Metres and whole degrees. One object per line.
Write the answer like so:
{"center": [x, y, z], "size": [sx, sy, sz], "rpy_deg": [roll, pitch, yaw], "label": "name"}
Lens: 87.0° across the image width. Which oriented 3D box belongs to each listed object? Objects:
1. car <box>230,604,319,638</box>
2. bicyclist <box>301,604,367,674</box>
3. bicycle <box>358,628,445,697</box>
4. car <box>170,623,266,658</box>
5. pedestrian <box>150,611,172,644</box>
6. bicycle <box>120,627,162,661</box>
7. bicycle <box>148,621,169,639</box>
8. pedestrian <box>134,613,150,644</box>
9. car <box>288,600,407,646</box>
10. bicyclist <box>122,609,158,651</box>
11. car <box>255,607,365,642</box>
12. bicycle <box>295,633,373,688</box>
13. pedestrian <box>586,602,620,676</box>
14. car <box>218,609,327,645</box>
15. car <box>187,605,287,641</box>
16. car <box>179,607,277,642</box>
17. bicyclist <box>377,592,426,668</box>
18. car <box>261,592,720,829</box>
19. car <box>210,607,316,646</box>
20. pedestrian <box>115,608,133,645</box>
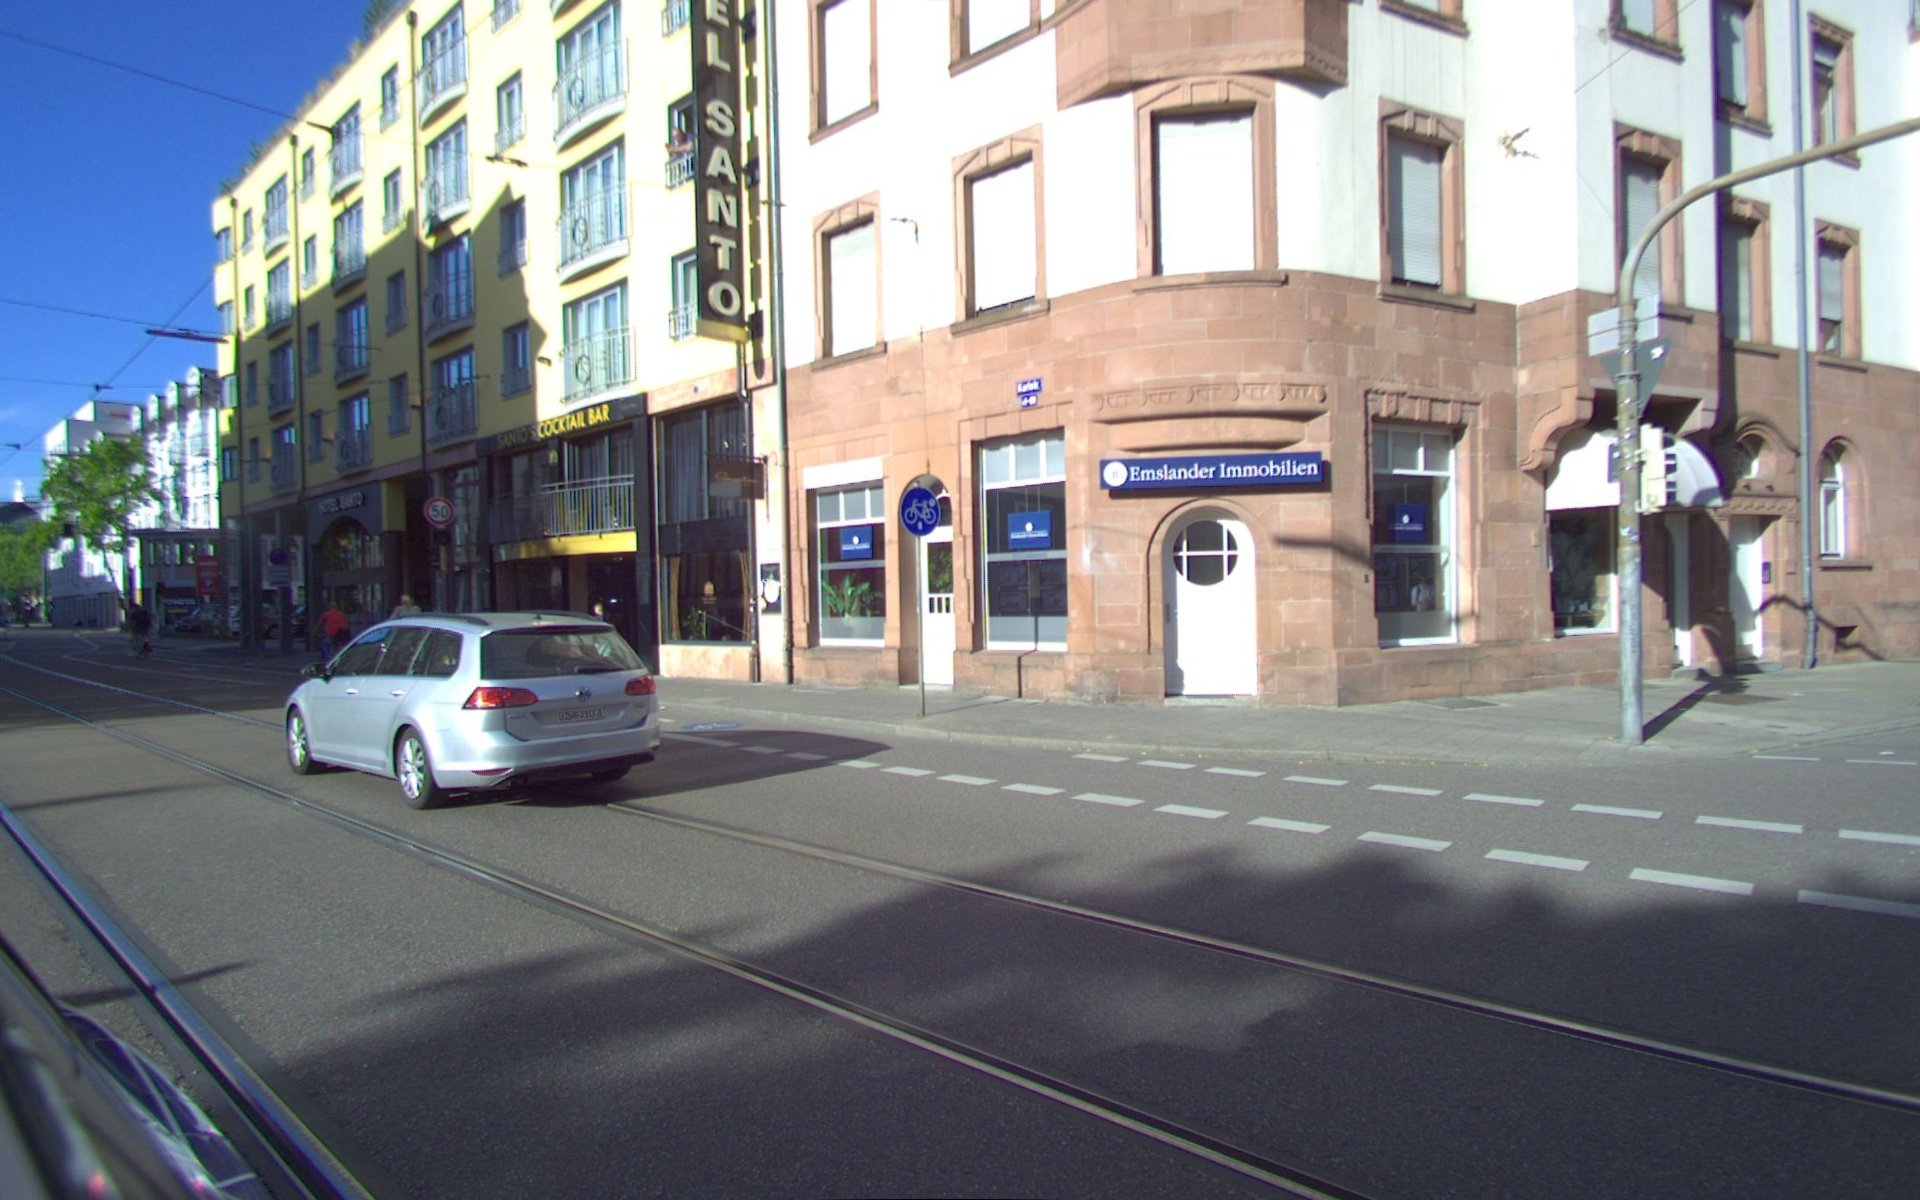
{"center": [-37.161, 1.125, 54.923], "size": [1.785, 1.685, 3.651], "rpy_deg": [-1, 0, 41], "label": "car"}
{"center": [-13.090, 0.795, 21.142], "size": [1.467, 1.391, 0.728], "rpy_deg": [-1, 0, 40], "label": "bicyclist"}
{"center": [-10.555, 1.142, 19.087], "size": [2.060, 1.192, 0.723], "rpy_deg": [-1, 1, 40], "label": "bicycle"}
{"center": [-43.394, 2.320, 59.263], "size": [1.784, 1.776, 4.190], "rpy_deg": [-1, 1, 41], "label": "car"}
{"center": [-44.654, 1.533, 56.570], "size": [0.778, 1.777, 0.708], "rpy_deg": [-1, 0, 33], "label": "pedestrian"}
{"center": [-27.844, 1.475, 34.392], "size": [2.060, 1.096, 0.723], "rpy_deg": [-1, 0, 40], "label": "bicycle"}
{"center": [-50.103, 1.873, 63.251], "size": [1.874, 1.044, 0.519], "rpy_deg": [-1, 0, 34], "label": "bicycle"}
{"center": [-44.448, 1.545, 54.997], "size": [0.499, 1.629, 0.566], "rpy_deg": [-1, 0, 40], "label": "pedestrian"}
{"center": [-27.322, 0.984, 45.216], "size": [1.785, 1.825, 4.189], "rpy_deg": [-1, 1, 42], "label": "car"}
{"center": [-27.890, 1.019, 34.410], "size": [1.227, 1.391, 0.717], "rpy_deg": [-1, 0, 40], "label": "bicyclist"}
{"center": [-31.621, 1.163, 49.337], "size": [1.784, 1.560, 4.189], "rpy_deg": [1, 1, 41], "label": "car"}
{"center": [-13.019, 1.245, 21.027], "size": [2.060, 1.073, 0.723], "rpy_deg": [-1, -4, 40], "label": "bicycle"}
{"center": [-6.933, 0.747, 19.636], "size": [0.516, 1.421, 0.399], "rpy_deg": [-1, 1, 41], "label": "pedestrian"}
{"center": [-34.218, 1.345, 50.443], "size": [1.785, 1.621, 4.188], "rpy_deg": [-4, -2, 42], "label": "car"}
{"center": [-39.733, 1.257, 55.657], "size": [1.785, 1.825, 4.188], "rpy_deg": [-1, 0, 42], "label": "car"}
{"center": [-41.449, 1.351, 57.348], "size": [1.784, 1.825, 4.189], "rpy_deg": [-1, 0, 41], "label": "car"}
{"center": [-10.514, 0.557, 19.063], "size": [0.678, 1.386, 0.584], "rpy_deg": [-1, 0, 40], "label": "bicyclist"}
{"center": [-4.182, 0.744, 8.696], "size": [4.305, 1.513, 1.965], "rpy_deg": [-1, 0, 41], "label": "car"}
{"center": [-35.784, 1.330, 52.018], "size": [1.784, 1.825, 4.189], "rpy_deg": [1, 1, 41], "label": "car"}
{"center": [-45.006, 1.439, 54.489], "size": [0.708, 1.961, 0.631], "rpy_deg": [-1, 0, 40], "label": "pedestrian"}
